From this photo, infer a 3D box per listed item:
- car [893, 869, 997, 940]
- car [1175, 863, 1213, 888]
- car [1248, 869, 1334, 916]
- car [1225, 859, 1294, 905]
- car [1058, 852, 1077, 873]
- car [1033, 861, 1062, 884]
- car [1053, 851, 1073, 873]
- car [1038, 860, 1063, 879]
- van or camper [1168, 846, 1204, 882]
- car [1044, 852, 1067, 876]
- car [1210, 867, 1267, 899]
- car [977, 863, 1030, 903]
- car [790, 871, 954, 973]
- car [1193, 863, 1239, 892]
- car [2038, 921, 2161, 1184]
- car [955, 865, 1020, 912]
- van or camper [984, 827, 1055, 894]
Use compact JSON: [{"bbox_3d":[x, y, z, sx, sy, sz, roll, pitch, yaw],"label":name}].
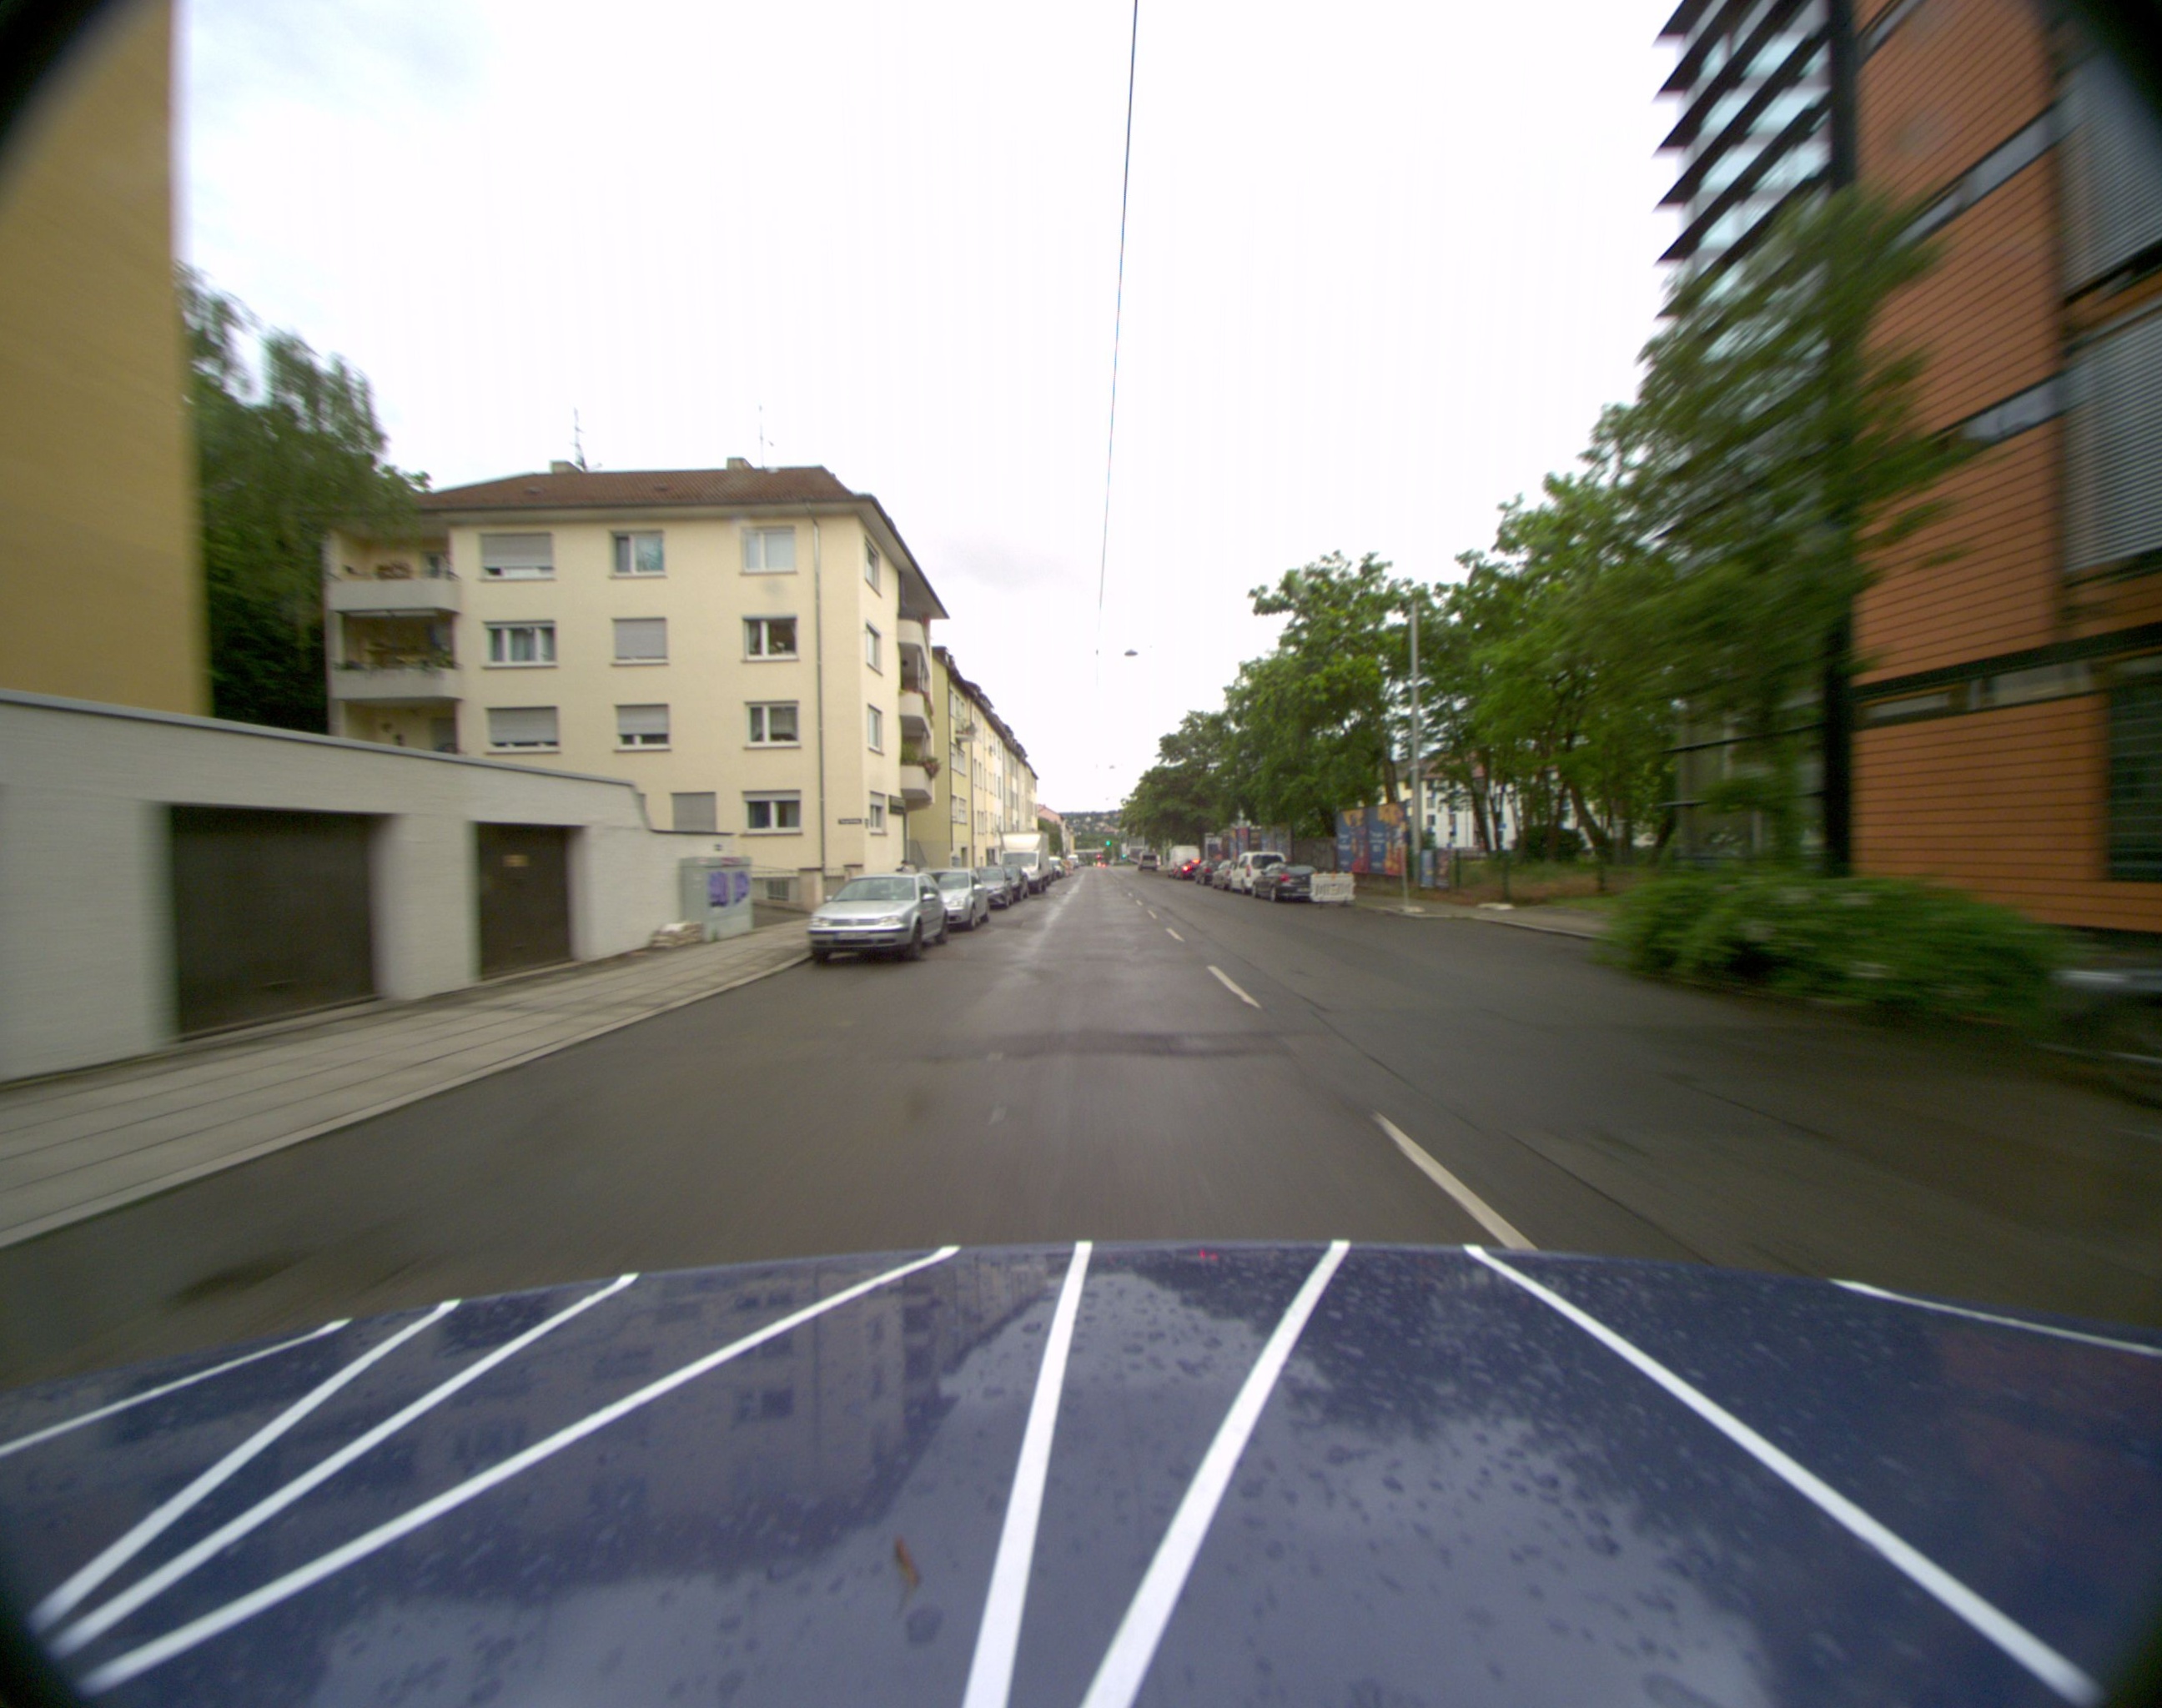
[{"bbox_3d":[-3.213,1.153,18.675,1.740,1.370,3.970,-2,1,1],"label":"car"},{"bbox_3d":[7.786,1.455,52.634,1.998,1.565,3.999,-2,1,0],"label":"car"},{"bbox_3d":[7.405,1.305,27.161,1.881,1.390,3.999,-1,1,-1],"label":"car"},{"bbox_3d":[7.496,1.126,32.296,1.881,1.699,3.999,-1,1,-1],"label":"car"},{"bbox_3d":[-1.350,0.874,78.879,1.740,1.997,4.196,-2,0,1],"label":"car"},{"bbox_3d":[-2.268,1.269,52.067,1.740,1.423,3.505,-2,0,1],"label":"car"},{"bbox_3d":[-1.677,0.747,71.671,1.740,1.997,4.196,-2,0,1],"label":"car"},{"bbox_3d":[-2.386,1.196,59.595,1.740,1.423,3.505,-2,0,1],"label":"car"},{"bbox_3d":[8.022,0.684,58.730,2.143,2.587,5.550,-2,1,2],"label":"van or camper"},{"bbox_3d":[-2.190,0.831,65.561,1.740,1.997,4.196,-2,0,1],"label":"car"},{"bbox_3d":[7.593,1.356,36.997,1.881,1.345,3.829,-1,1,-1],"label":"car"},{"bbox_3d":[-3.138,1.155,31.236,1.740,1.423,3.505,-2,0,1],"label":"car"},{"bbox_3d":[-3.499,1.071,13.470,1.740,1.370,3.838,-2,1,1],"label":"car"},{"bbox_3d":[7.667,1.304,43.459,1.881,1.456,3.517,-1,1,-1],"label":"car"},{"bbox_3d":[7.099,1.132,2.747,1.727,1.455,4.330,0,-1,-3],"label":"car"},{"bbox_3d":[-3.213,1.158,26.636,1.740,1.423,3.505,-2,0,1],"label":"car"},{"bbox_3d":[-3.000,0.254,39.152,2.753,3.040,7.030,-2,1,2],"label":"van or camper"}]
